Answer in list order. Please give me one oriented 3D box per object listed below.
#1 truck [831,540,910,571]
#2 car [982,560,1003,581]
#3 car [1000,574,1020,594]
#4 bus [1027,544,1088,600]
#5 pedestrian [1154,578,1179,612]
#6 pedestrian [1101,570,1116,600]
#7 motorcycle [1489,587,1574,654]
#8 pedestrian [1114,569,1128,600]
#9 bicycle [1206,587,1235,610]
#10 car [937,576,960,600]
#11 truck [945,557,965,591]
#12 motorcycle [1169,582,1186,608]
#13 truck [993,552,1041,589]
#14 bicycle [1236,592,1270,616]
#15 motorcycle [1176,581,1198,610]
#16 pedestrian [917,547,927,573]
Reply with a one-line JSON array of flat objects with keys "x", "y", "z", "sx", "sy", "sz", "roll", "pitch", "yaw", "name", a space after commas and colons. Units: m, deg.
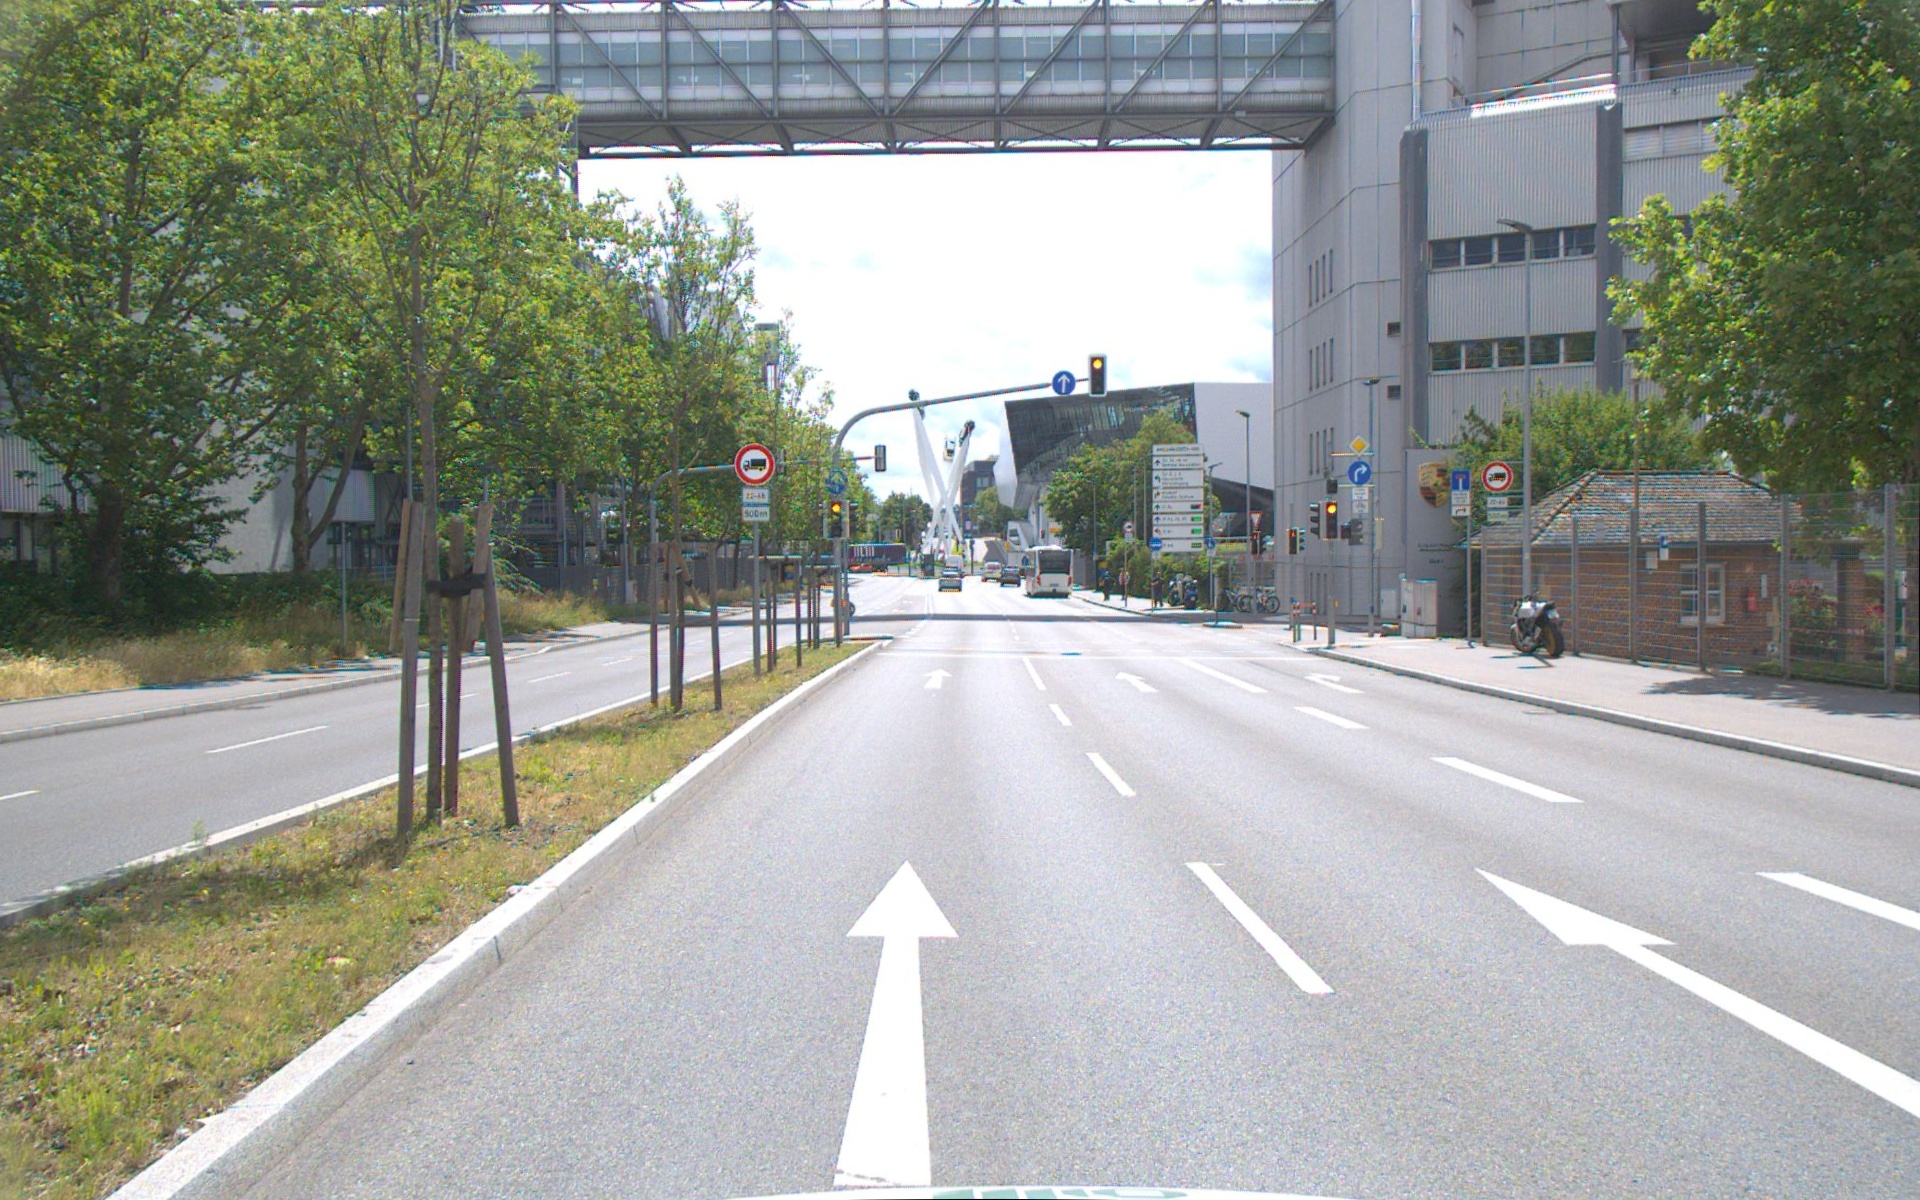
[{"x": -13.856, "y": -6.892, "z": 257.325, "sx": 12.000, "sy": 4.400, "sz": 3.538, "roll": 2, "pitch": -1, "yaw": -30, "name": "truck"}, {"x": 3.459, "y": -3.085, "z": 175.570, "sx": 1.954, "sy": 2.049, "sz": 3.997, "roll": 1, "pitch": -1, "yaw": -3, "name": "car"}, {"x": 4.485, "y": -1.480, "z": 149.491, "sx": 1.702, "sy": 1.772, "sz": 3.691, "roll": 0, "pitch": 1, "yaw": 0, "name": "car"}, {"x": 6.557, "y": -1.888, "z": 113.011, "sx": 3.382, "sy": 3.605, "sz": 10.604, "roll": 0, "pitch": 1, "yaw": -1, "name": "bus"}, {"x": 10.001, "y": -0.234, "z": 79.999, "sx": 0.835, "sy": 1.653, "sz": 0.951, "roll": 1, "pitch": 0, "yaw": 41, "name": "pedestrian"}, {"x": 8.647, "y": -0.852, "z": 96.511, "sx": 0.803, "sy": 1.737, "sz": 0.881, "roll": 0, "pitch": 0, "yaw": 0, "name": "pedestrian"}, {"x": 10.717, "y": 0.361, "z": 31.094, "sx": 0.679, "sy": 1.178, "sz": 2.146, "roll": -2, "pitch": 1, "yaw": -4, "name": "motorcycle"}, {"x": 9.320, "y": -0.910, "z": 95.744, "sx": 0.623, "sy": 1.772, "sz": 0.822, "roll": 0, "pitch": 0, "yaw": -6, "name": "pedestrian"}, {"x": 11.211, "y": -0.069, "z": 71.214, "sx": 0.391, "sy": 0.953, "sz": 1.918, "roll": 0, "pitch": 1, "yaw": -18, "name": "bicycle"}, {"x": -0.903, "y": -0.942, "z": 128.135, "sx": 1.702, "sy": 1.772, "sz": 3.691, "roll": 0, "pitch": 1, "yaw": 0, "name": "car"}, {"x": -0.540, "y": -3.101, "z": 195.857, "sx": 2.343, "sy": 3.965, "sz": 6.177, "roll": 0, "pitch": 0, "yaw": 0, "name": "truck"}, {"x": 10.885, "y": -0.265, "z": 82.930, "sx": 0.562, "sy": 1.224, "sz": 2.024, "roll": -2, "pitch": 1, "yaw": 0, "name": "motorcycle"}, {"x": 6.996, "y": -3.554, "z": 201.867, "sx": 3.380, "sy": 4.468, "sz": 9.425, "roll": 0, "pitch": 1, "yaw": 18, "name": "truck"}, {"x": 12.200, "y": 0.150, "z": 68.922, "sx": 0.392, "sy": 0.953, "sz": 1.913, "roll": 0, "pitch": 1, "yaw": -25, "name": "bicycle"}, {"x": 10.283, "y": -0.211, "z": 74.932, "sx": 0.692, "sy": 1.224, "sz": 2.024, "roll": -2, "pitch": 1, "yaw": 0, "name": "motorcycle"}, {"x": -5.264, "y": -5.575, "z": 231.393, "sx": 1.387, "sy": 3.663, "sz": 1.283, "roll": 0, "pitch": 0, "yaw": -1, "name": "pedestrian"}]
